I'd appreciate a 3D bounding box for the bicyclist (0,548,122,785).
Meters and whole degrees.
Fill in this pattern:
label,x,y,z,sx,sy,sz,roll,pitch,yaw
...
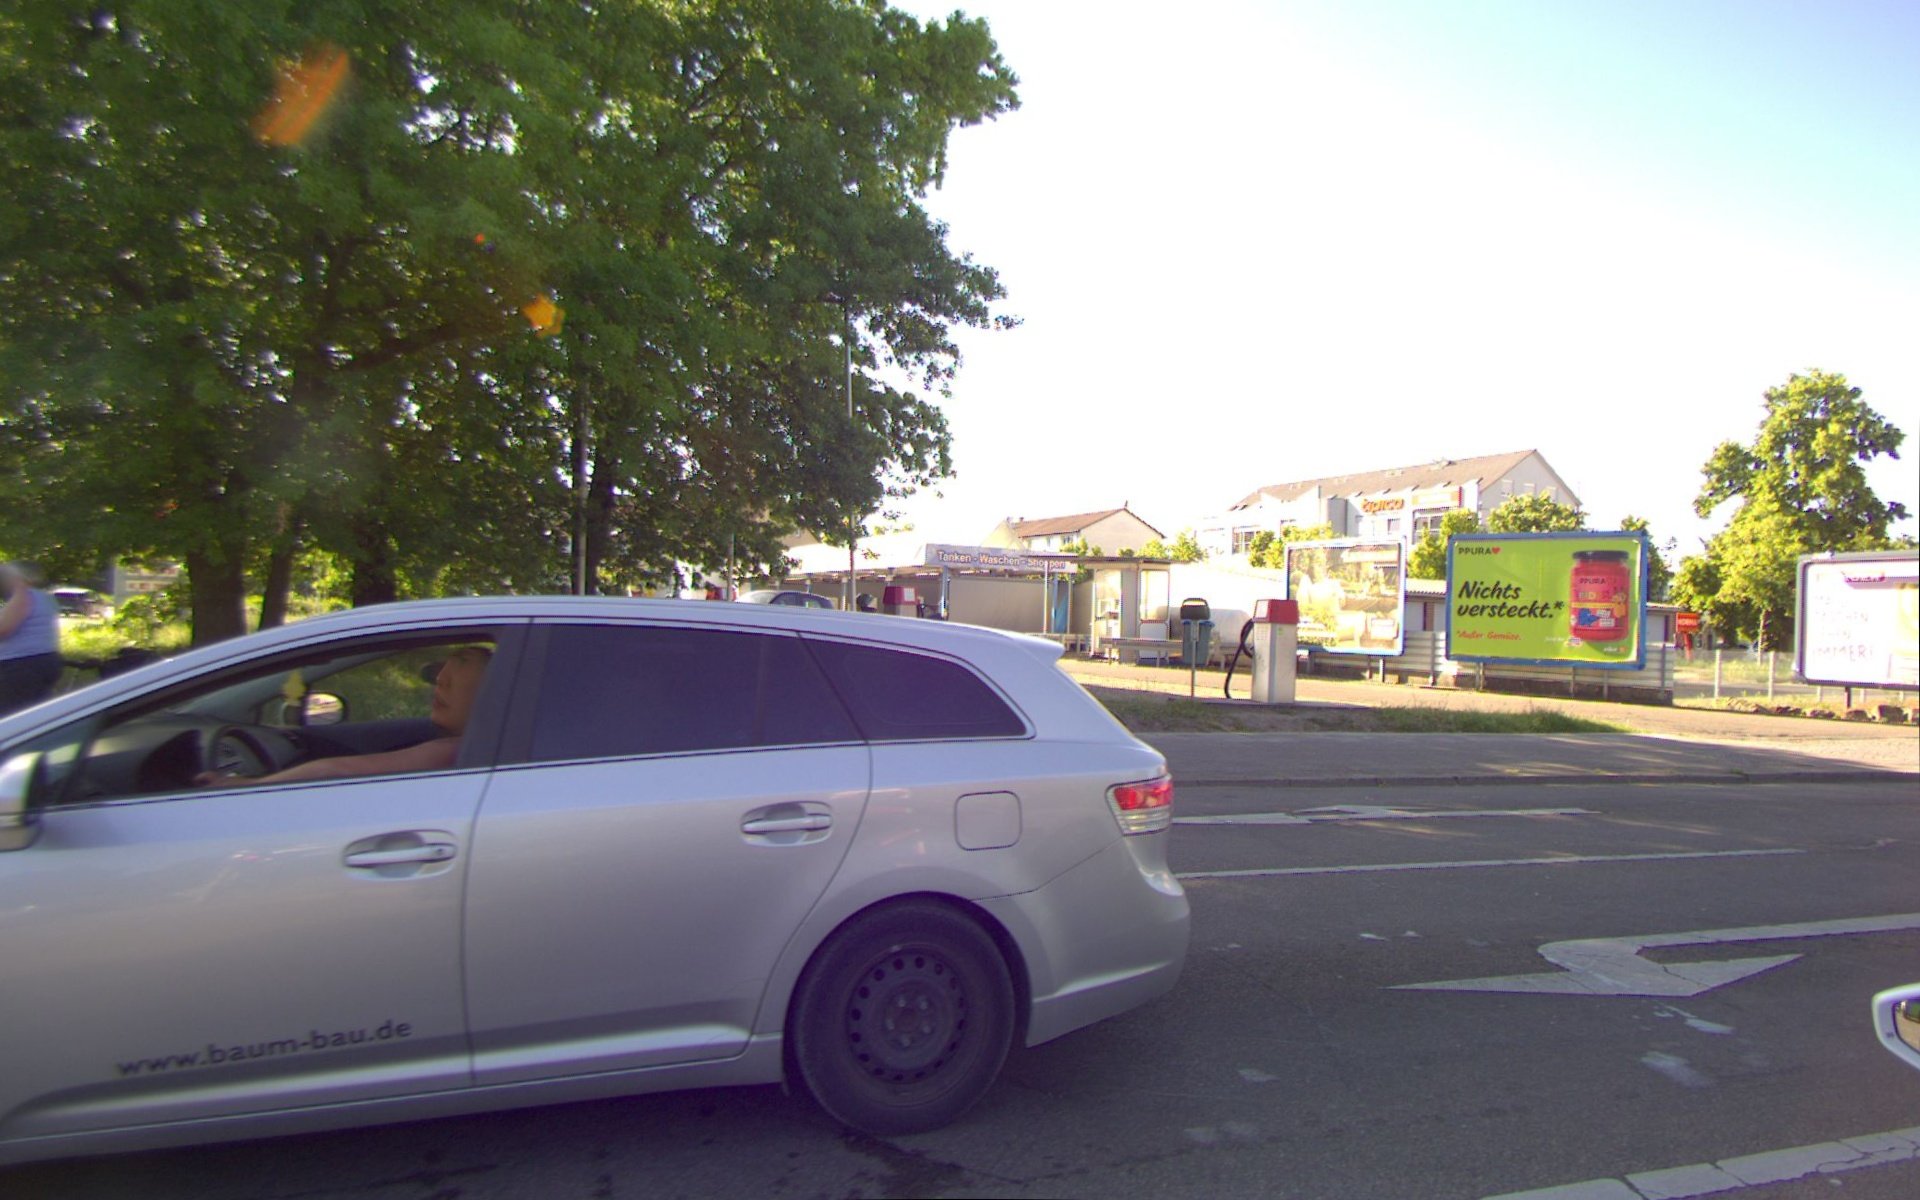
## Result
label,x,y,z,sx,sy,sz,roll,pitch,yaw
bicyclist,-6.761,0.469,7.333,0.818,1.663,0.540,2,-1,-23

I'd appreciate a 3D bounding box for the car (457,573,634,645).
label,x,y,z,sx,sy,sz,roll,pitch,yaw
car,-14.824,0.375,36.060,5.587,2.126,1.985,5,-2,-30

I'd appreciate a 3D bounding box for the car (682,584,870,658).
label,x,y,z,sx,sy,sz,roll,pitch,yaw
car,-4.058,0.517,22.659,1.732,1.394,3.985,2,-3,38

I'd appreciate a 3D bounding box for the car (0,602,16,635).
label,x,y,z,sx,sy,sz,roll,pitch,yaw
car,-42.191,0.739,42.750,1.821,1.413,4.331,5,-2,-29

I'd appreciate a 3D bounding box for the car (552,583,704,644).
label,x,y,z,sx,sy,sz,roll,pitch,yaw
car,-9.864,0.417,30.002,3.966,1.531,1.515,5,-3,-38

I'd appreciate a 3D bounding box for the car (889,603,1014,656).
label,x,y,z,sx,sy,sz,roll,pitch,yaw
car,-0.296,1.068,36.161,3.954,1.628,1.984,5,-2,-30

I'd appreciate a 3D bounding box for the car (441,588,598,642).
label,x,y,z,sx,sy,sz,roll,pitch,yaw
car,-13.347,0.486,30.599,1.773,1.352,3.981,2,-3,41

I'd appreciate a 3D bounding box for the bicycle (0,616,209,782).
label,x,y,z,sx,sy,sz,roll,pitch,yaw
bicycle,-6.787,0.702,7.317,1.997,1.157,0.526,2,-1,-23

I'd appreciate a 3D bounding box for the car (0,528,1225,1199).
label,x,y,z,sx,sy,sz,roll,pitch,yaw
car,-1.771,0.643,3.109,4.814,1.508,1.835,2,-2,-19
